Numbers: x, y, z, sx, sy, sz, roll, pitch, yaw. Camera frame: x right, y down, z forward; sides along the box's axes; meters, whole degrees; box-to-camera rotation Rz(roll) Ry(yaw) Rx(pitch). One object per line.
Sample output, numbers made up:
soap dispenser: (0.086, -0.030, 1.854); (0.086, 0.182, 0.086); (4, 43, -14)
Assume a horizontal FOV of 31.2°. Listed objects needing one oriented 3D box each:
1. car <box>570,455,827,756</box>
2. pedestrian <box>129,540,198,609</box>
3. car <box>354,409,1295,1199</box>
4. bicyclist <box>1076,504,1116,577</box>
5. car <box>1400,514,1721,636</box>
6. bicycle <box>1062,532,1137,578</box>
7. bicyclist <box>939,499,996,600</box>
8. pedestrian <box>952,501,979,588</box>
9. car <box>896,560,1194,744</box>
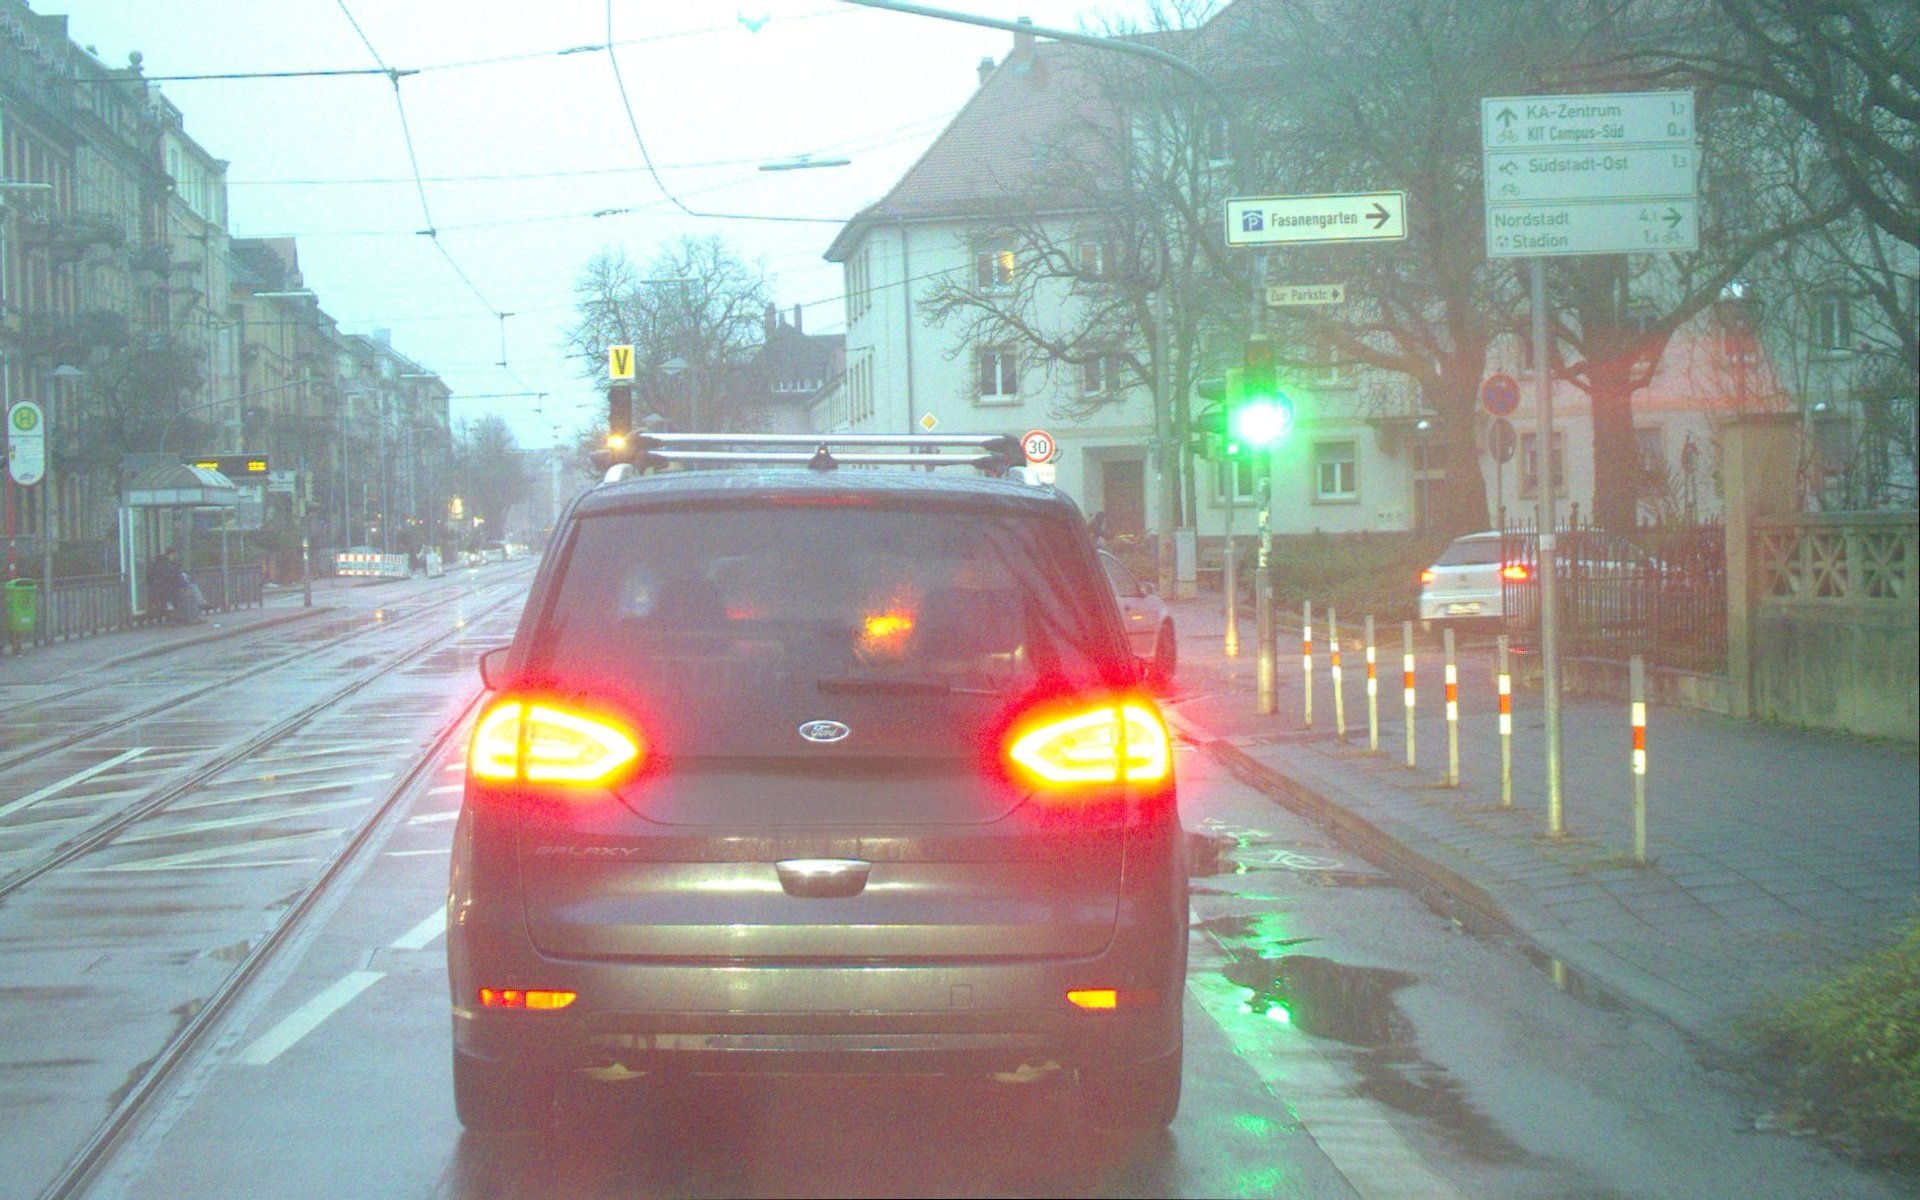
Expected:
car: (-1.953, 0.009, 25.319); (1.708, 2.007, 4.300); (-1, 1, -5)
pedestrian: (-13.984, -0.453, 60.362); (1.047, 1.196, 0.885); (-1, 1, -4)
car: (-0.433, 0.435, 10.063); (2.103, 1.810, 4.661); (0, 1, -3)
bicyclist: (3.634, -1.581, 91.567); (0.808, 1.912, 0.707); (-1, 1, 27)
car: (7.389, -0.326, 42.127); (3.989, 1.371, 1.669); (-2, 2, -40)
bicycle: (3.702, -1.201, 91.549); (1.853, 1.179, 0.713); (0, 1, 27)
bicyclist: (0.128, -0.851, 57.614); (0.716, 1.657, 1.057); (2, 1, -10)
pedestrian: (0.121, -1.289, 80.055); (0.596, 2.007, 0.631); (-1, 0, -1)
car: (0.892, 0.460, 33.430); (1.710, 1.656, 3.996); (0, 1, 20)
